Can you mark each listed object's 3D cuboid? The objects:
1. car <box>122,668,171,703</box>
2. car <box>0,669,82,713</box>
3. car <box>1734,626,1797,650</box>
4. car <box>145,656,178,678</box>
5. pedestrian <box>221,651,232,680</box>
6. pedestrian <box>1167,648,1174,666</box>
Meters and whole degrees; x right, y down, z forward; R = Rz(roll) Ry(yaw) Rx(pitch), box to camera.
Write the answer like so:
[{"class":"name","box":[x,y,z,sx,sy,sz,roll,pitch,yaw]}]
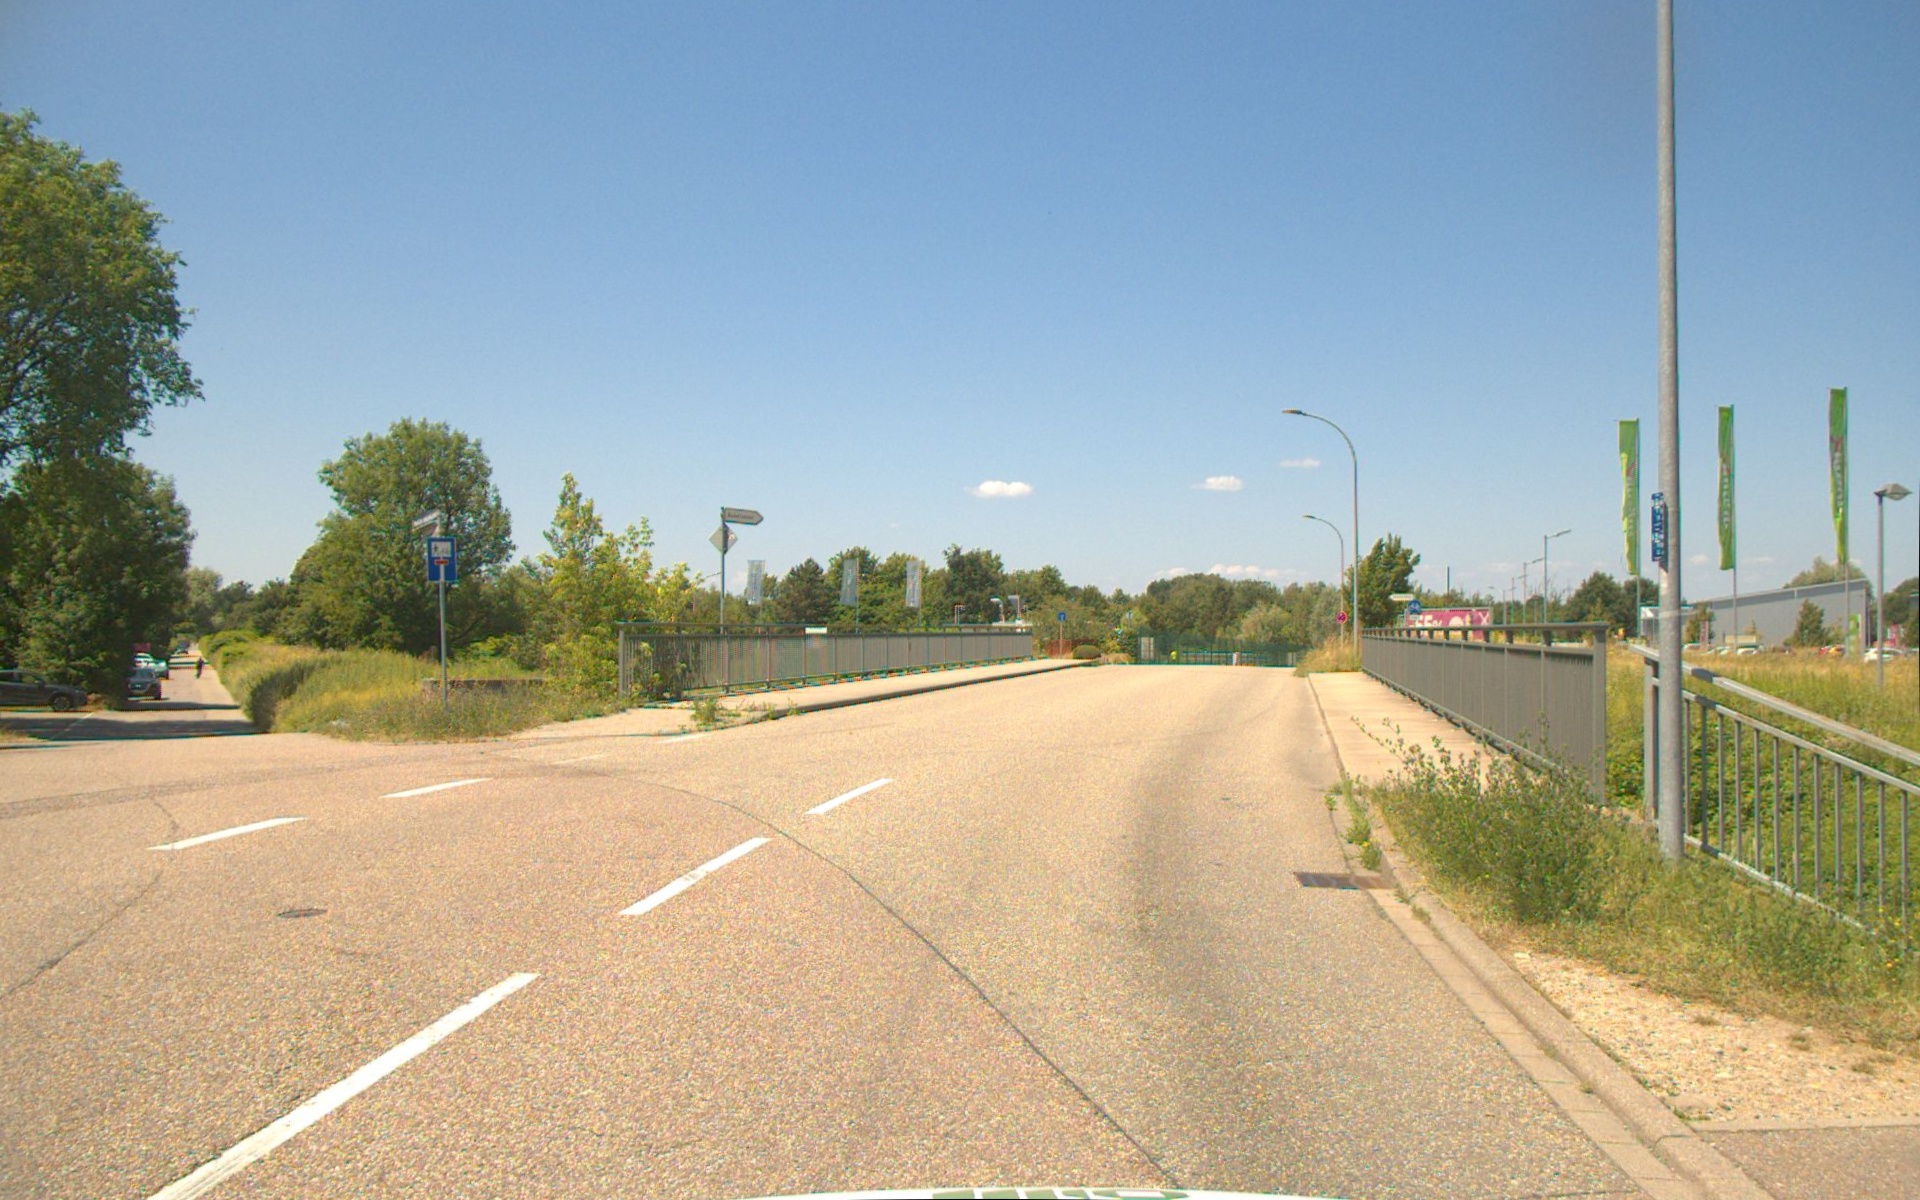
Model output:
[{"class":"car","box":[-42.120,4.405,85.564,1.973,1.624,3.958,-1,-1,-31]},{"class":"car","box":[-37.984,3.717,67.273,3.940,1.598,1.983,-1,-1,-27]},{"class":"car","box":[54.916,2.589,112.804,3.657,1.598,1.891,0,-1,18]},{"class":"car","box":[-61.893,5.159,128.148,1.973,1.624,3.958,-1,-1,-31]},{"class":"pedestrian","box":[-51.053,4.559,115.135,0.605,2.049,0.619,-1,-1,-30]},{"class":"pedestrian","box":[21.430,5.793,168.337,0.593,1.871,0.805,-1,-3,19]}]
